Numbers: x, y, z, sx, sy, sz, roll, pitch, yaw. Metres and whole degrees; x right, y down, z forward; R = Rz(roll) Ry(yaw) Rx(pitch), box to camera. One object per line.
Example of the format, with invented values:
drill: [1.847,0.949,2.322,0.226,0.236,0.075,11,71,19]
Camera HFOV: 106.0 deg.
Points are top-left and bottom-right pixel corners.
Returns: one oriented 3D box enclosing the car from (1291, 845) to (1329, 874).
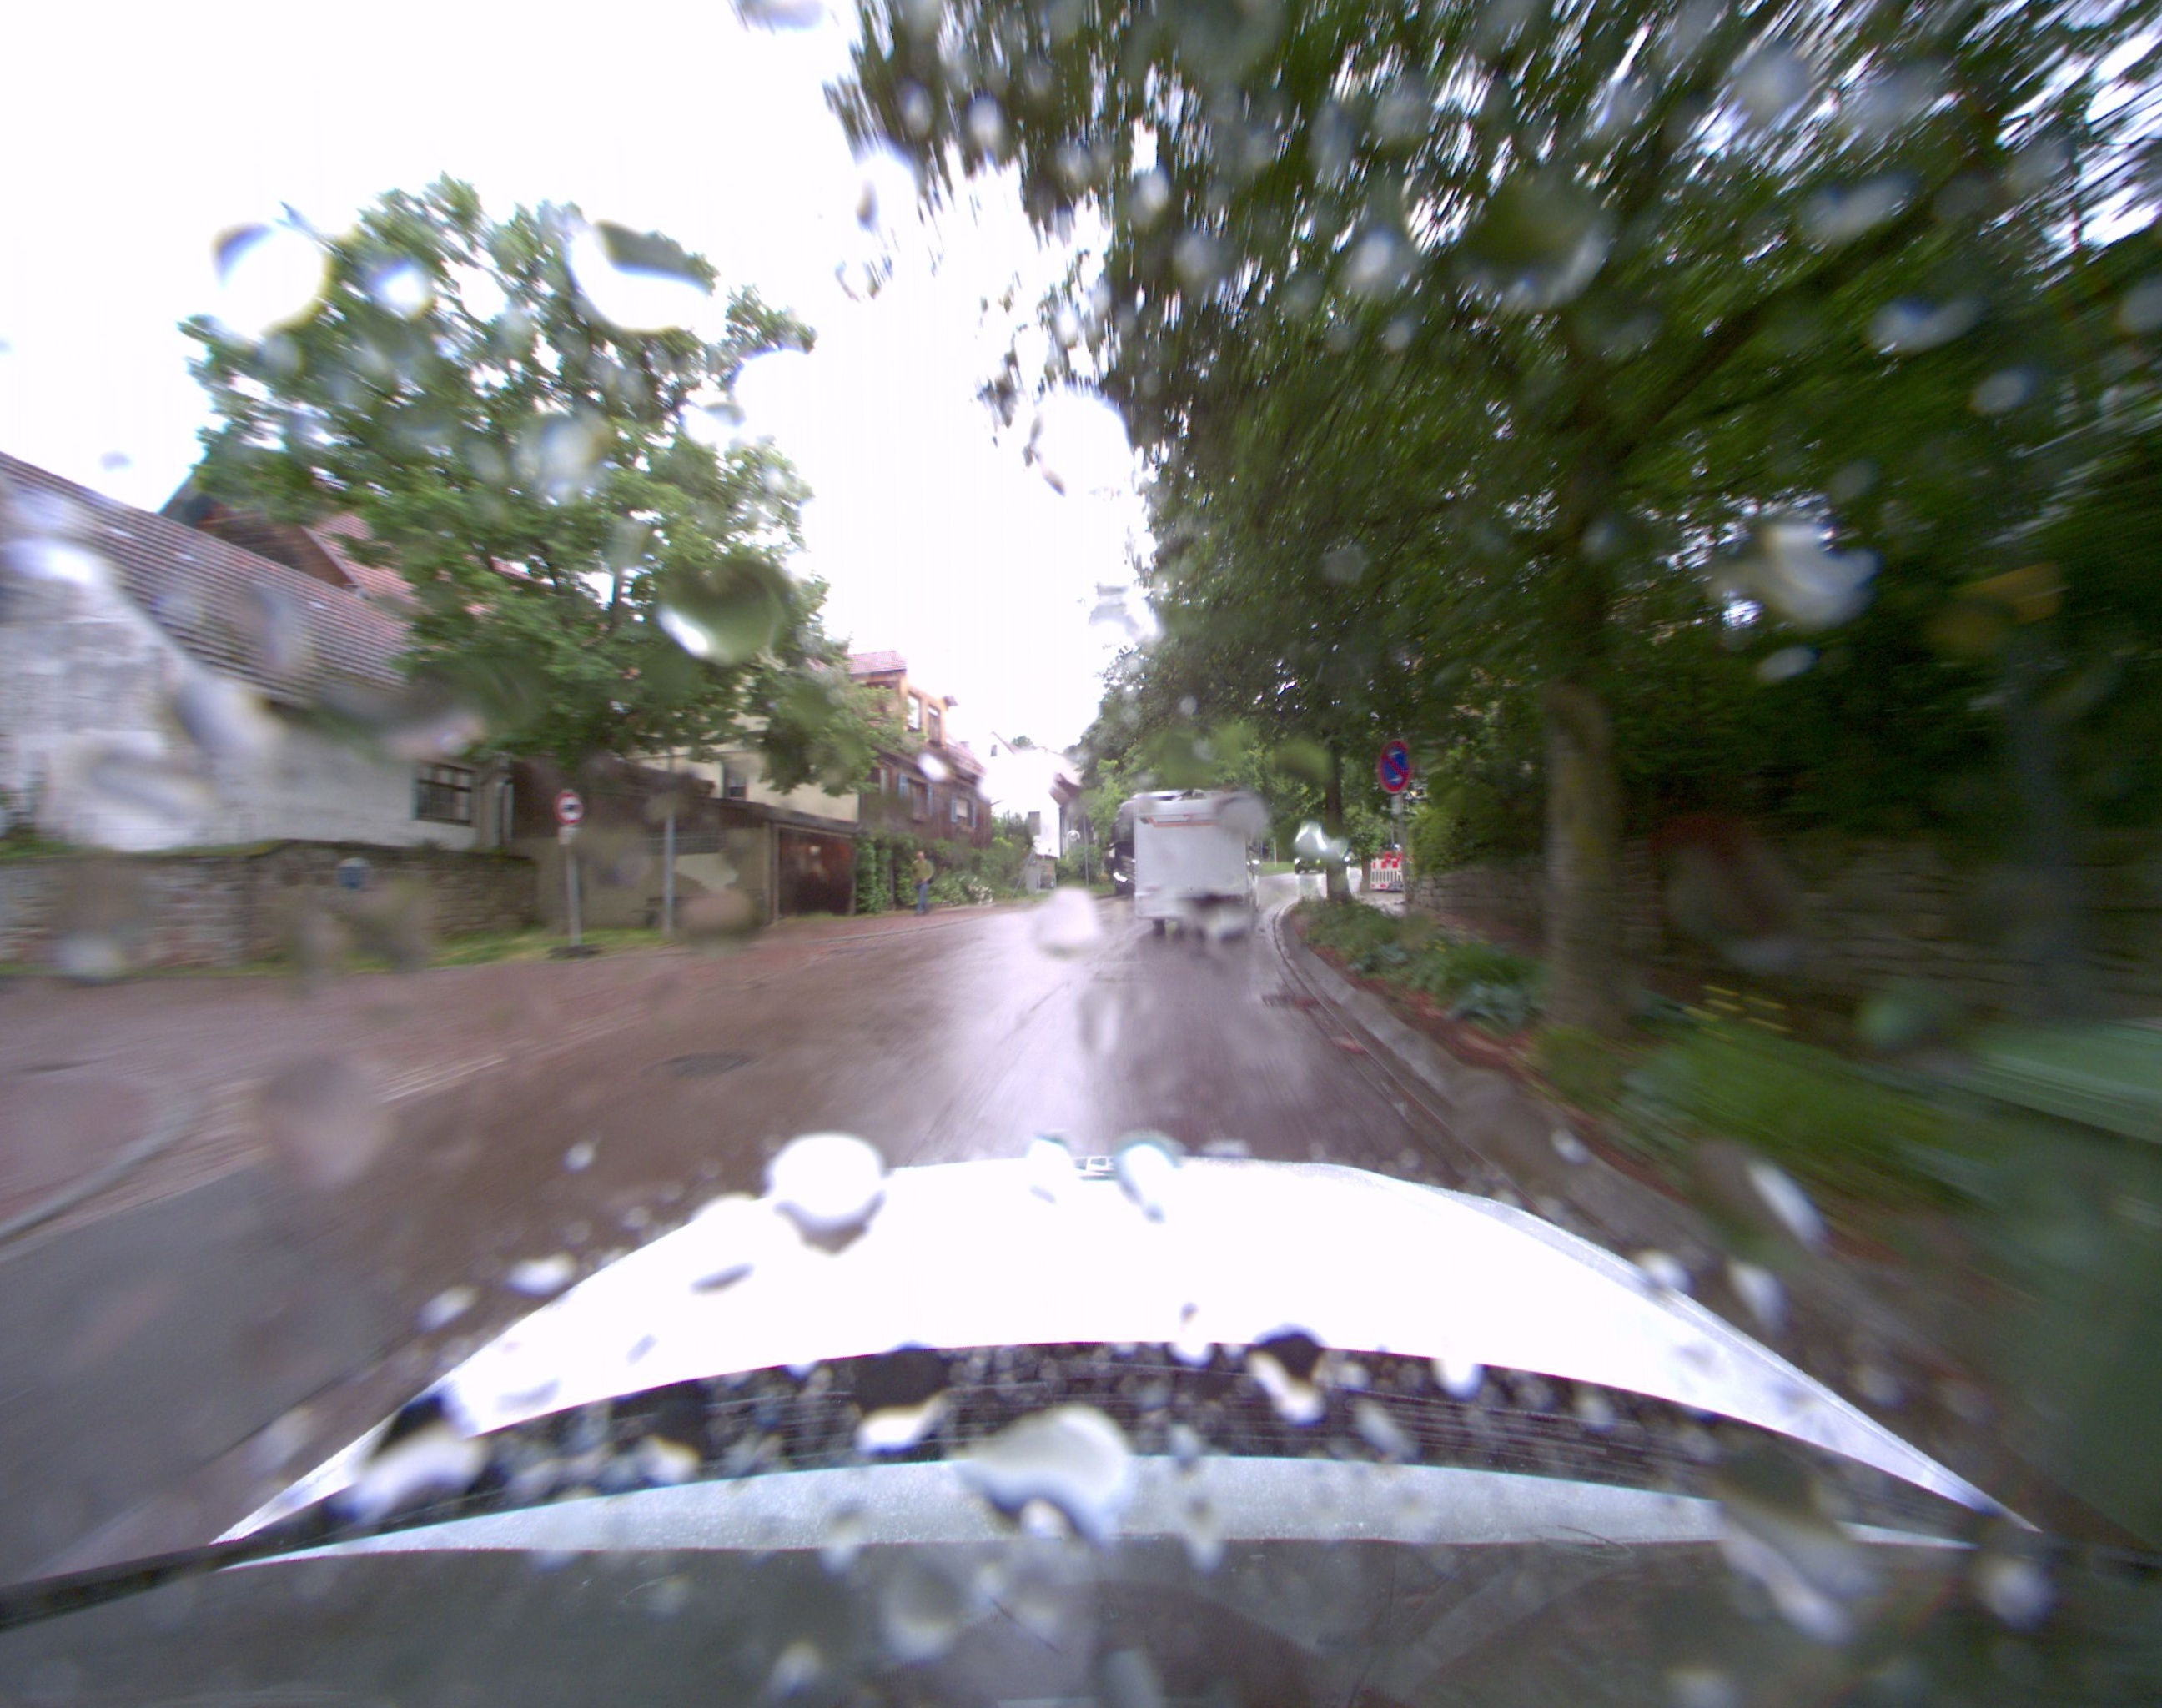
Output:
car: [15.897,0.385,56.361,1.818,1.850,4.023,-2,-1,25]

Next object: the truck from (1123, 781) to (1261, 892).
truck: [5.172,-0.645,35.481,2.811,4.166,10.035,-1,0,26]

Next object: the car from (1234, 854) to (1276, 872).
car: [18.189,0.945,85.365,3.974,1.762,2.000,-1,-1,0]

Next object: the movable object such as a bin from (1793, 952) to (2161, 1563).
movable object such as a bin: [2.537,0.864,1.985,0.767,1.107,0.884,-3,-1,-1]

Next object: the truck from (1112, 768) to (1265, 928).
truck: [2.704,-0.128,18.594,2.675,2.985,6.261,-2,0,14]

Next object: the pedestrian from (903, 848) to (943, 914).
pedestrian: [-4.572,0.771,23.622,0.788,1.868,0.919,-1,-1,12]
